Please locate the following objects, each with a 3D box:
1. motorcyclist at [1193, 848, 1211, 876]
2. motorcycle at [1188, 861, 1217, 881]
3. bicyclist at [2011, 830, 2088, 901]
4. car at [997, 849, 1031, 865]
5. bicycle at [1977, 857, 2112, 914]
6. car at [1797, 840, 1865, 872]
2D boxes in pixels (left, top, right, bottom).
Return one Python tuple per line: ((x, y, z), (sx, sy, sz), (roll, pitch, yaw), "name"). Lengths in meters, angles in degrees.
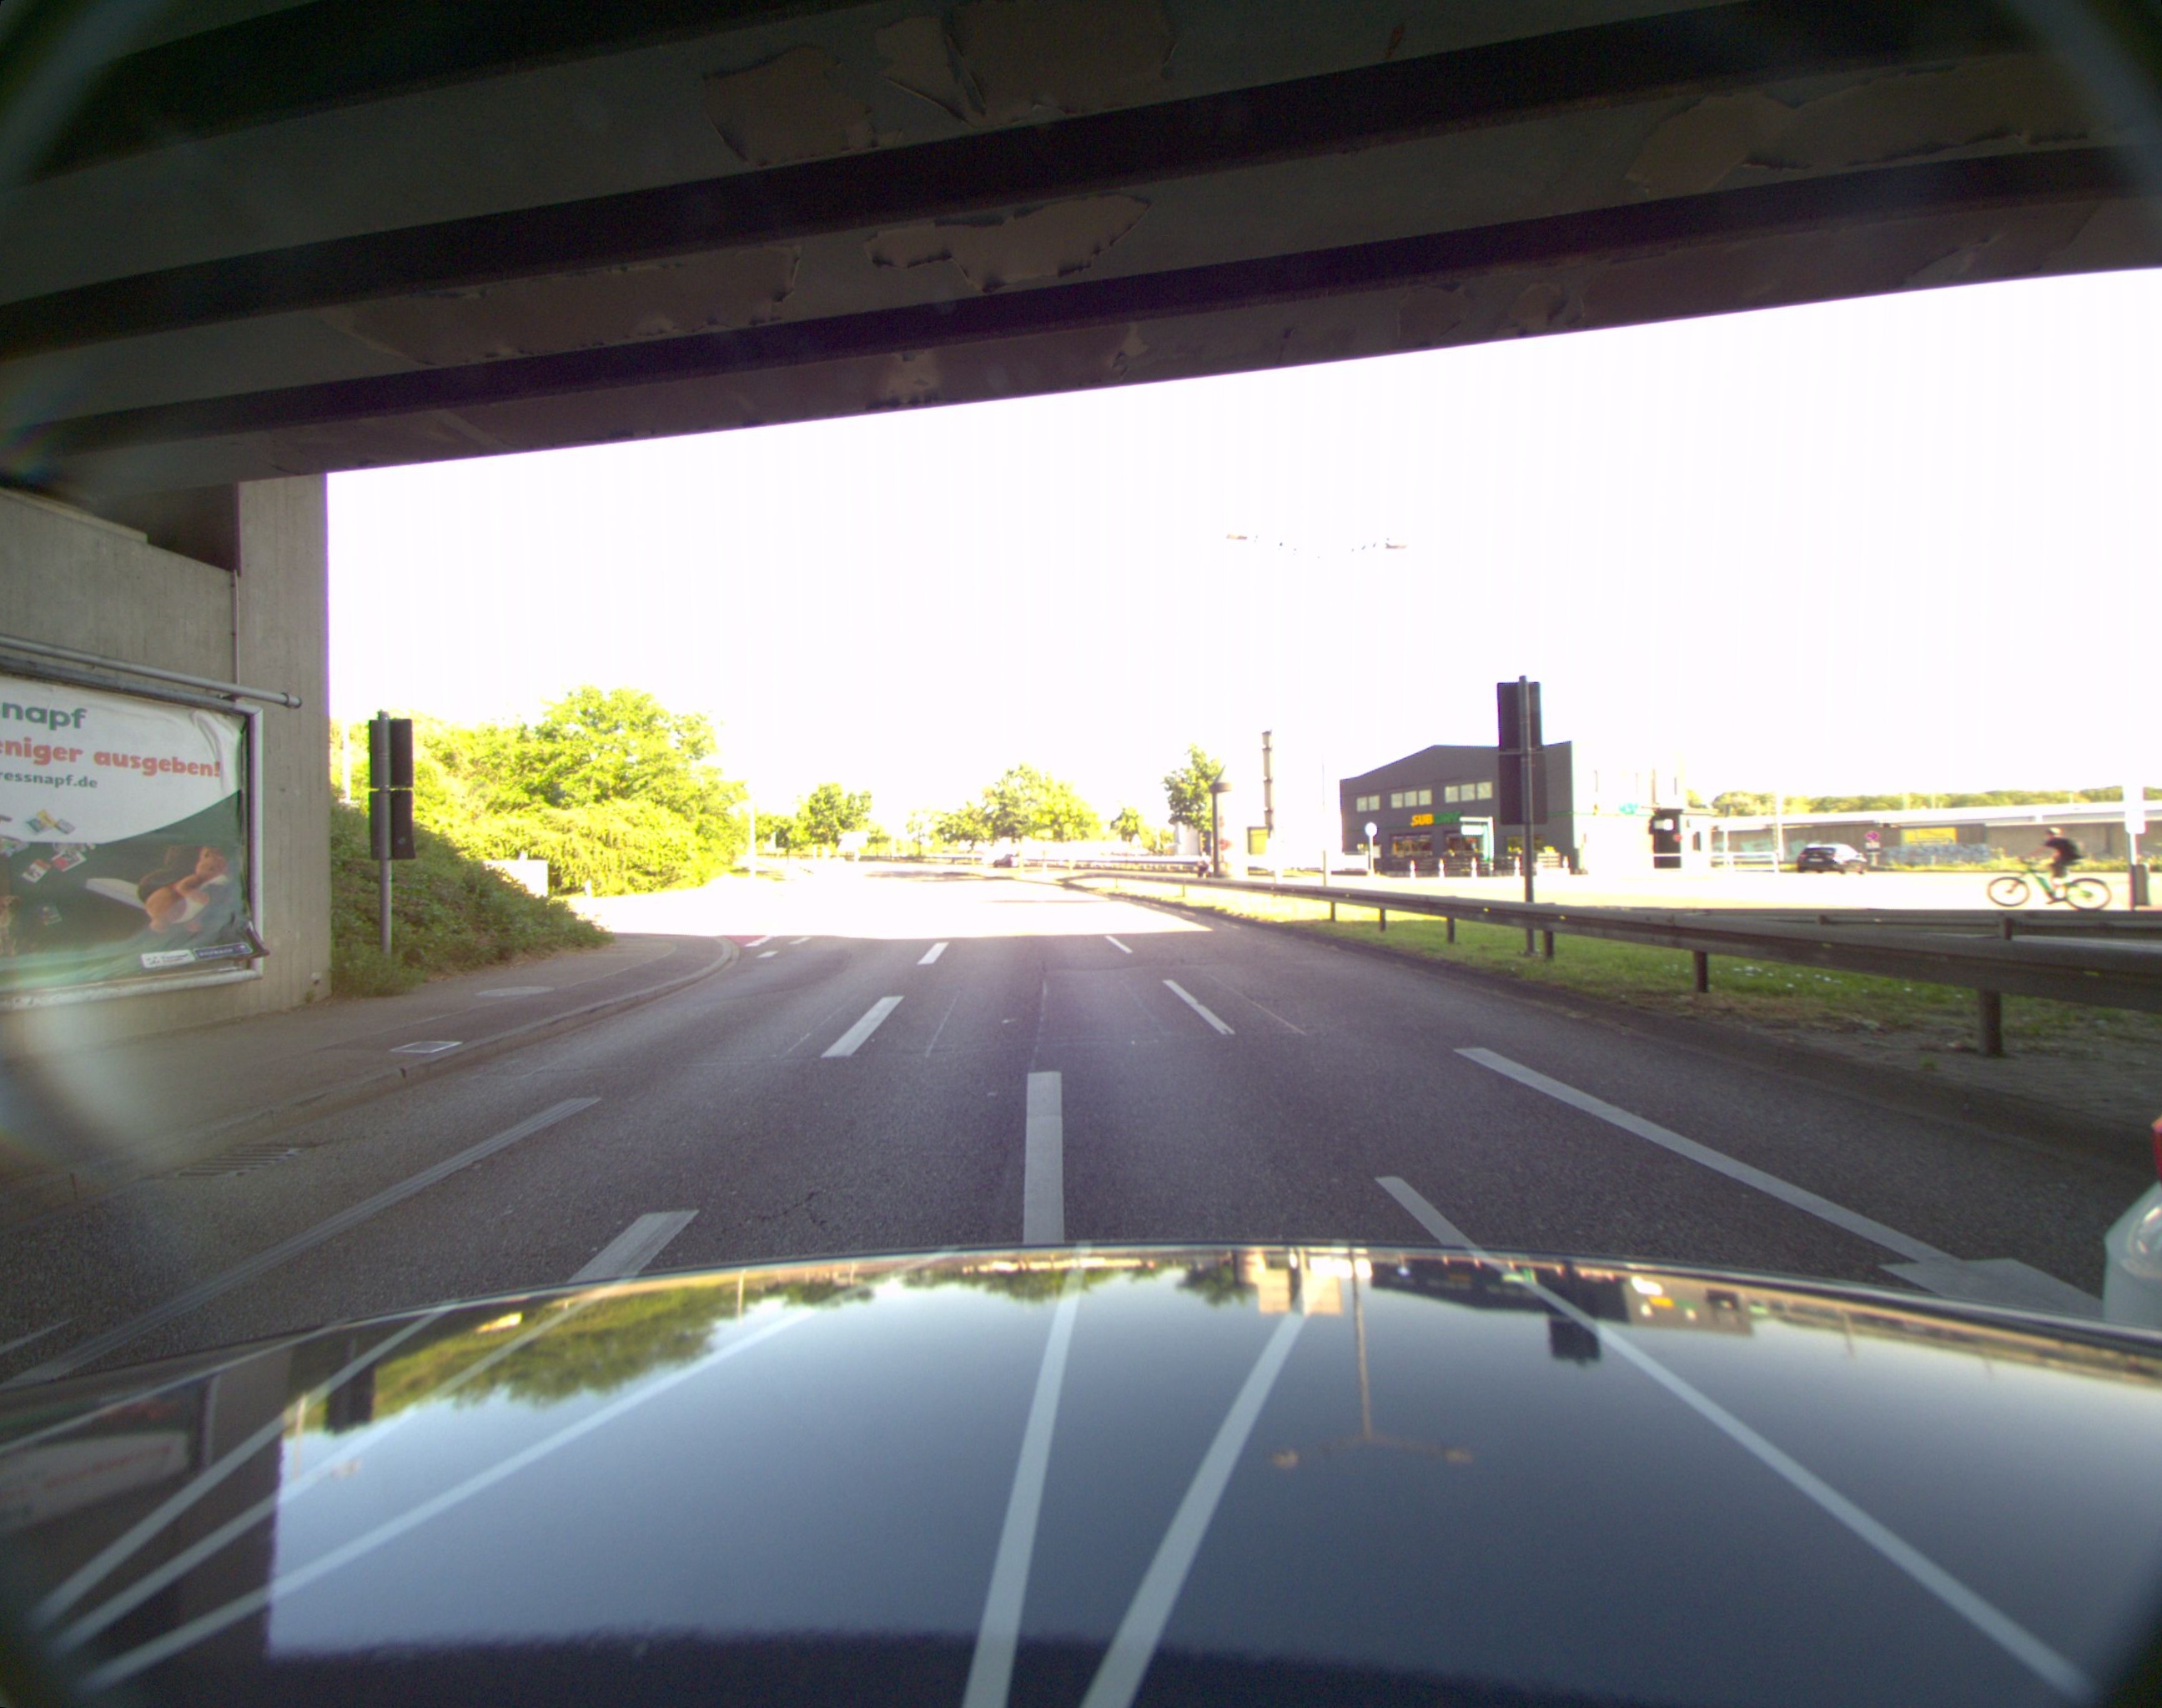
((6.644, 0.445, 41.780), (0.699, 1.519, 0.697), (-2, 1, -19), "motorcyclist")
((6.654, 0.935, 41.792), (0.695, 1.021, 2.006), (-2, 0, -18), "motorcycle")
((21.562, 0.246, 16.924), (0.629, 1.516, 0.836), (-2, 1, 1), "bicyclist")
((-7.261, 0.376, 81.966), (1.860, 1.607, 4.354), (-3, 1, -31), "car")
((21.585, 0.683, 17.085), (0.635, 1.159, 1.877), (-2, 1, 1), "bicycle")
((38.422, 0.088, 38.914), (4.007, 1.434, 1.878), (-3, 1, -37), "car")
